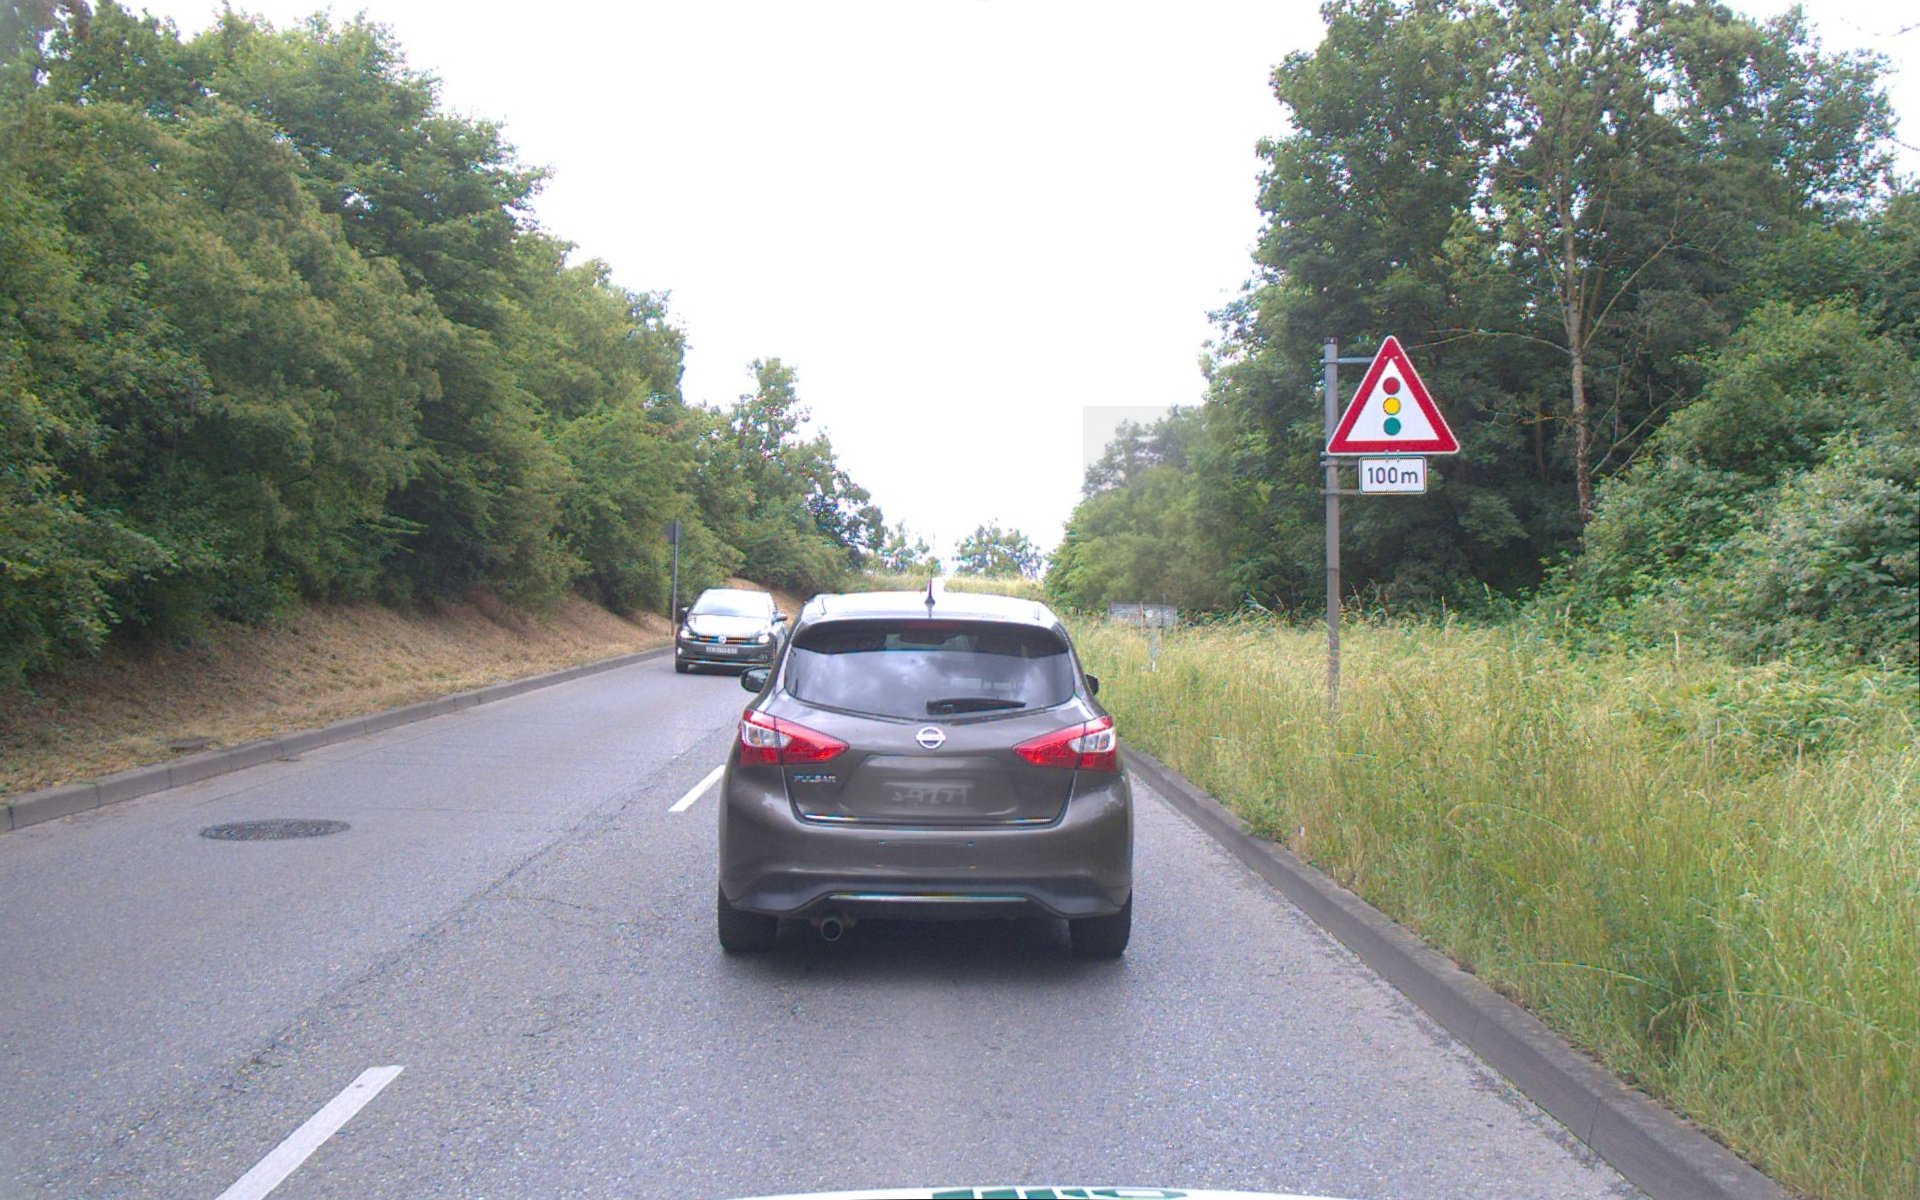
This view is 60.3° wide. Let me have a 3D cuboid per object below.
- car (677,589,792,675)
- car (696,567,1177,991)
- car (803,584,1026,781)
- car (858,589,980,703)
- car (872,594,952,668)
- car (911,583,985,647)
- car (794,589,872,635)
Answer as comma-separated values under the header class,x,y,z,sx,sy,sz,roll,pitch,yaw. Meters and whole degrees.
class,x,y,z,sx,sy,sz,roll,pitch,yaw
car,-3.962,0.532,29.535,1.609,1.425,3.820,1,0,-1
car,-0.154,0.669,7.967,1.793,1.583,3.497,1,0,-3
car,-0.380,0.653,15.109,1.793,1.583,3.624,0,0,-1
car,-0.582,0.635,24.893,1.700,1.583,3.543,0,0,-1
car,-1.040,0.653,37.088,1.700,1.583,3.543,0,0,-1
car,-0.350,0.458,52.776,1.699,1.968,3.546,0,0,11
car,-4.307,0.414,56.575,1.607,1.424,3.824,4,0,11
